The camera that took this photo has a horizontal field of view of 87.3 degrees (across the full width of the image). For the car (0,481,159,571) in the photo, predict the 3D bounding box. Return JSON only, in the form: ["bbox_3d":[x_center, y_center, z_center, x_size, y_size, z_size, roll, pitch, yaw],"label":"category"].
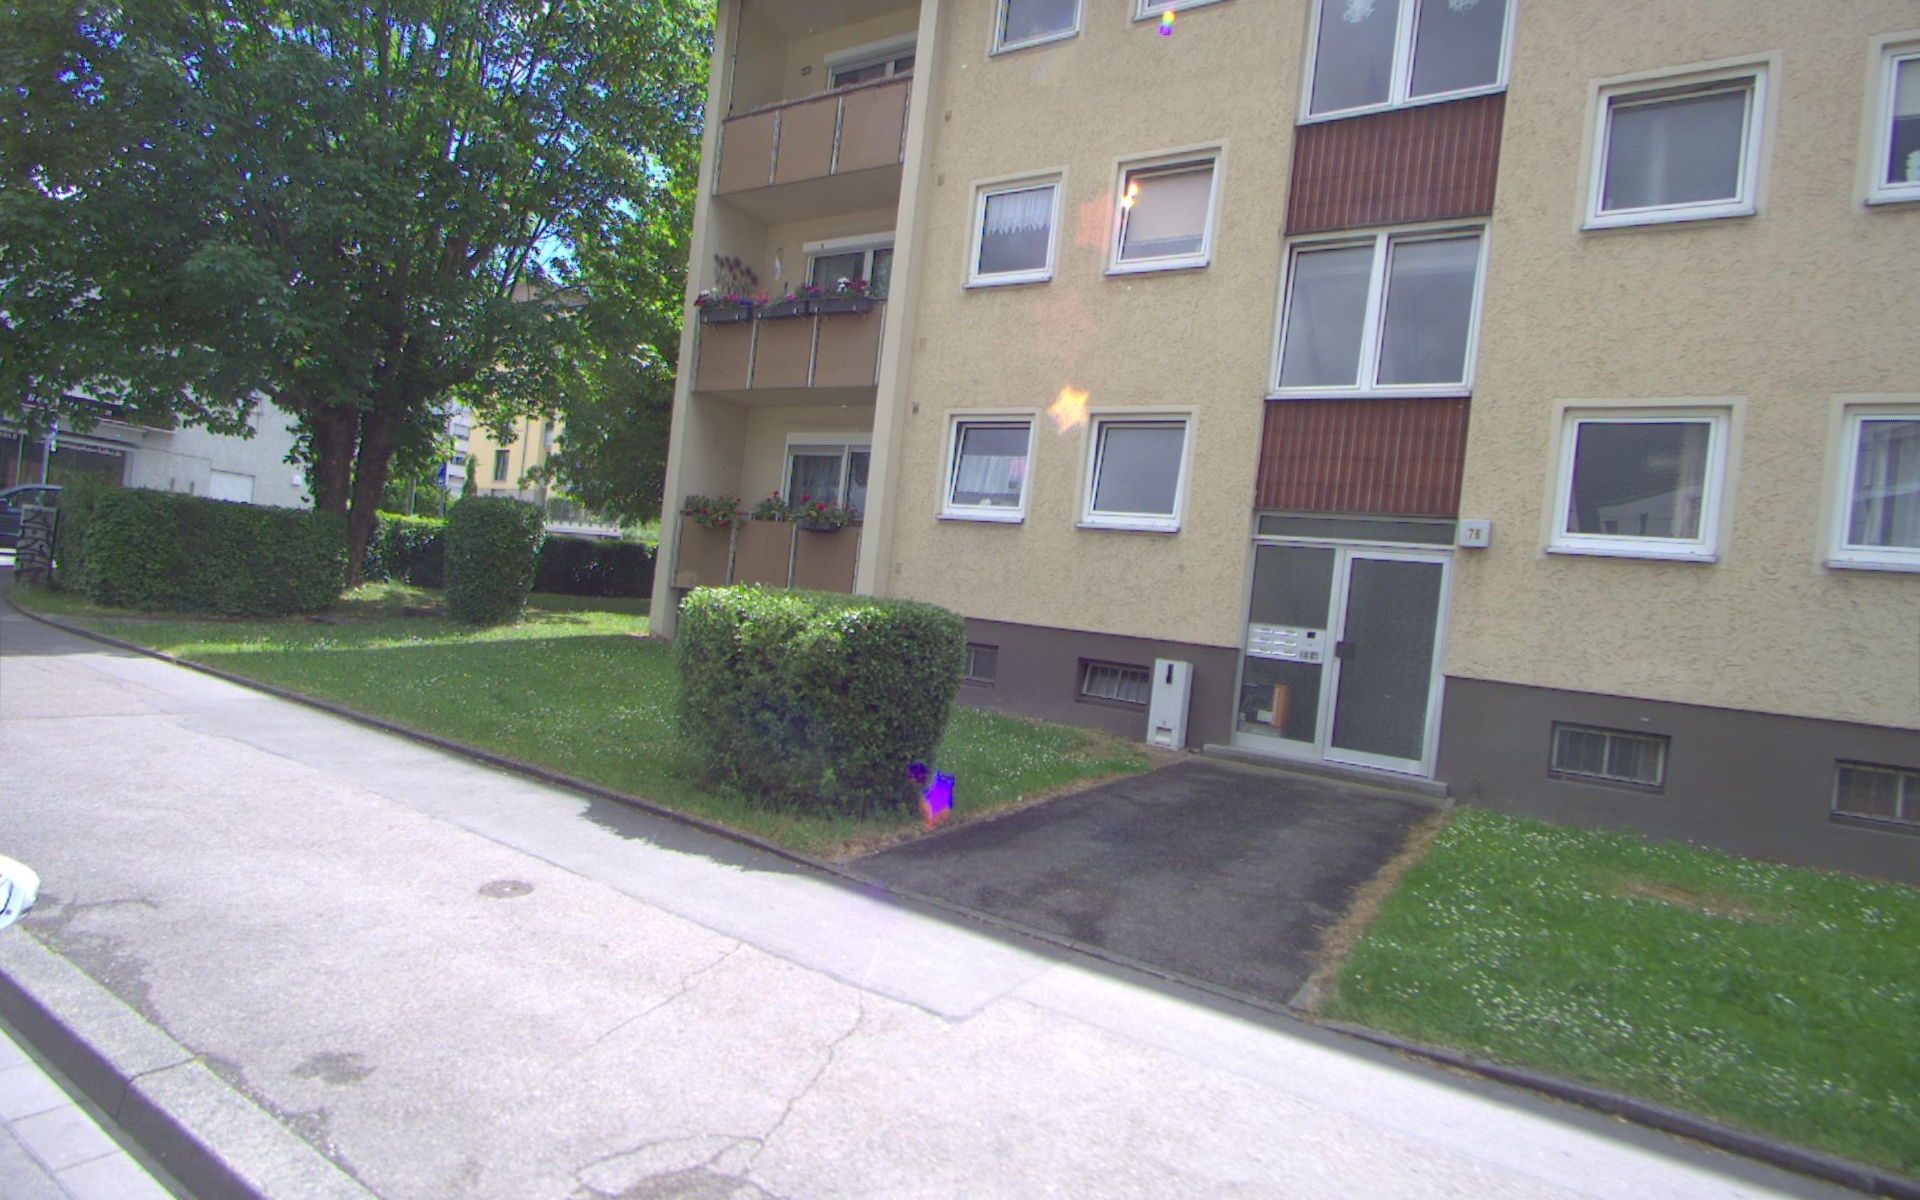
[{"bbox_3d":[-19.754,-1.659,21.725,3.683,1.542,1.976,7,1,-42],"label":"car"}]
